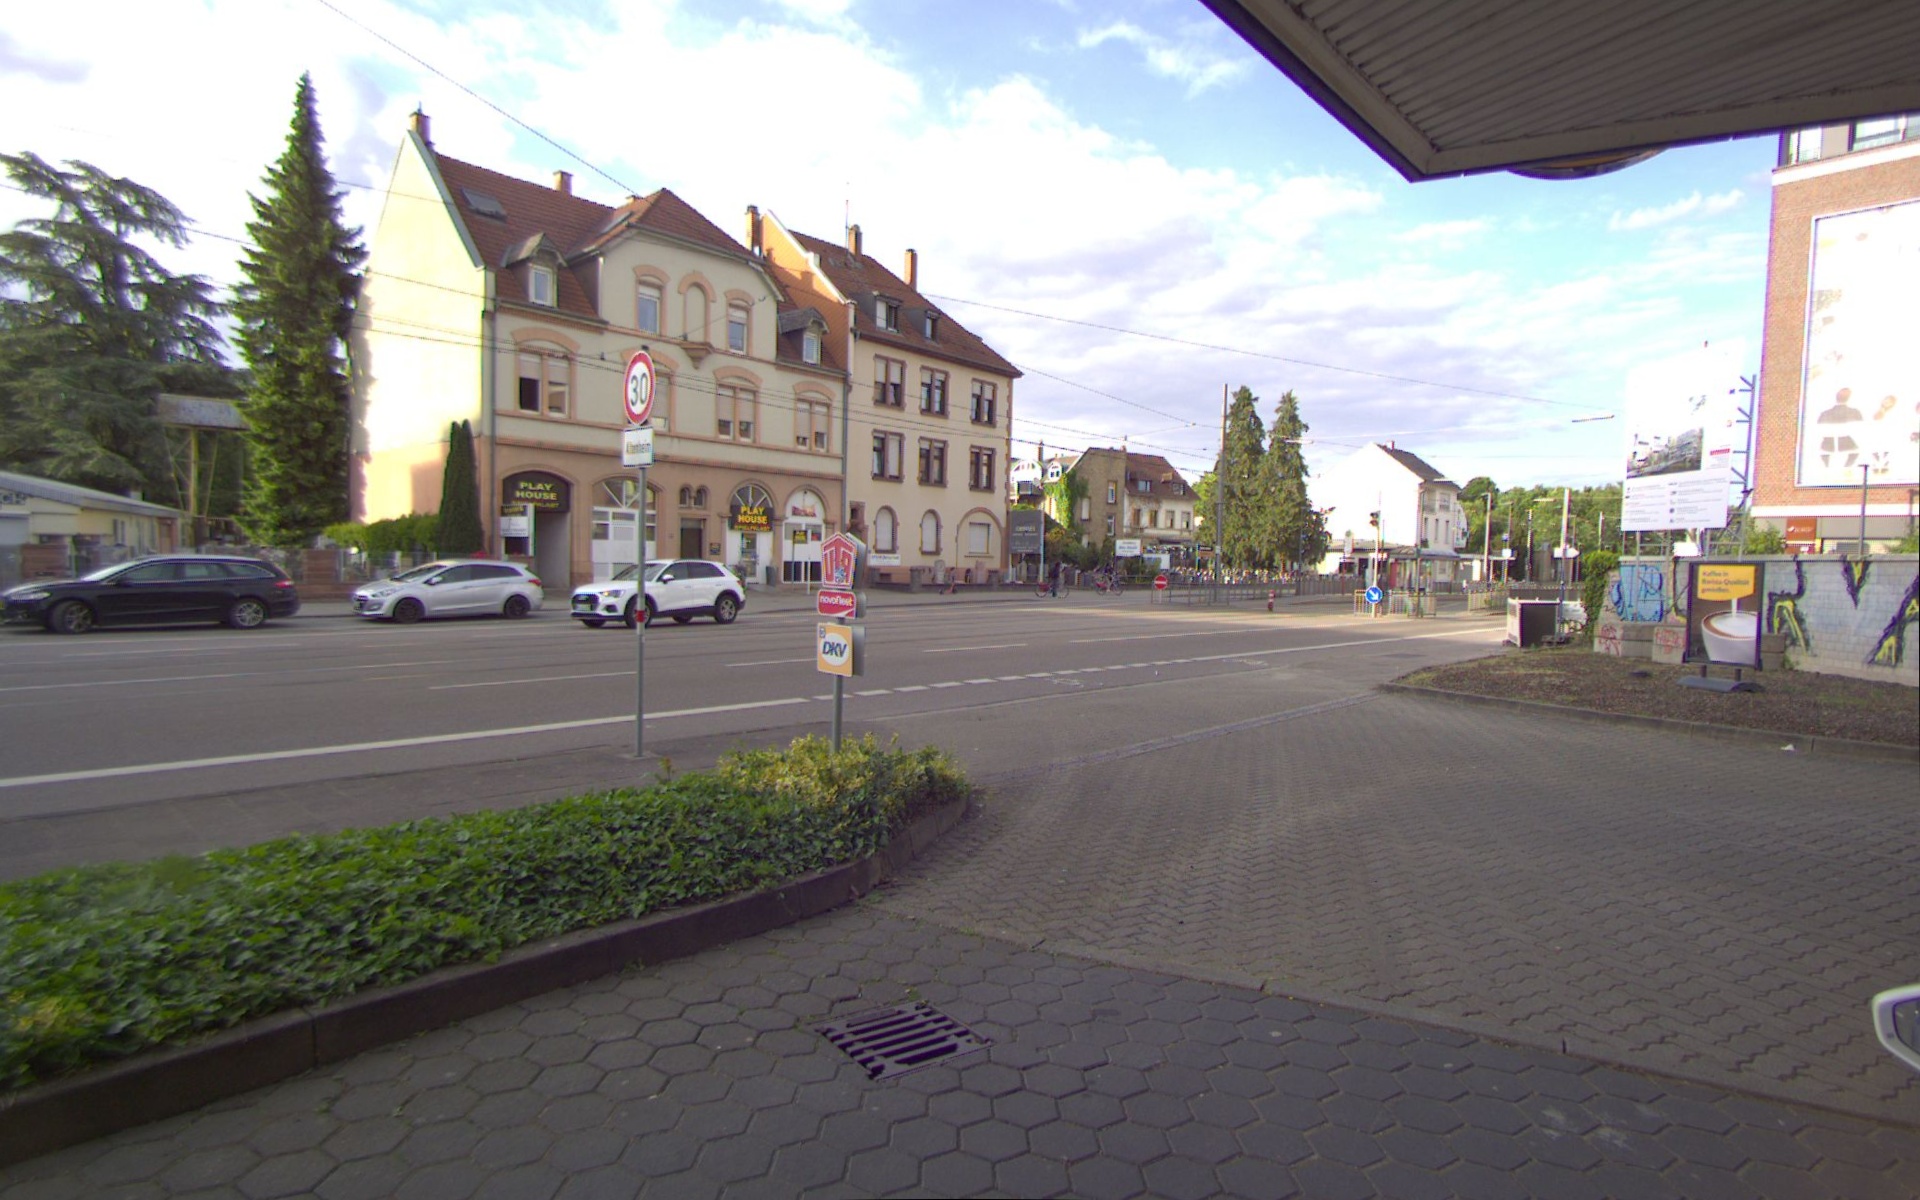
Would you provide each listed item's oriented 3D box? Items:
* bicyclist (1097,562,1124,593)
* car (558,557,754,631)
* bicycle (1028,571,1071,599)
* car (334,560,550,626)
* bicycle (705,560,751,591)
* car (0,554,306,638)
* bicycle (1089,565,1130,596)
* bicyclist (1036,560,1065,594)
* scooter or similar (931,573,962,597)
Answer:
[{"bbox_3d":[7.950,-1.186,53.056,1.079,1.512,0.785,2,4,-20],"label":"bicyclist"},{"bbox_3d":[-7.146,-0.200,24.032,1.809,1.598,4.369,1,2,32],"label":"car"},{"bbox_3d":[4.340,-0.718,48.582,1.884,1.219,0.839,1,6,-31],"label":"bicycle"},{"bbox_3d":[-13.009,-0.248,25.472,1.970,1.495,4.467,3,3,40],"label":"car"},{"bbox_3d":[-9.151,-0.959,39.716,0.508,1.189,1.809,4,2,40],"label":"bicycle"},{"bbox_3d":[-16.577,-0.150,20.739,1.970,1.516,4.801,3,3,40],"label":"car"},{"bbox_3d":[7.896,-1.052,53.046,1.962,1.512,0.785,2,4,-21],"label":"bicycle"},{"bbox_3d":[4.369,-1.109,48.537,0.953,1.579,0.839,1,6,-31],"label":"bicyclist"},{"bbox_3d":[-0.605,-0.694,45.143,0.488,1.015,1.592,5,5,39],"label":"scooter or similar"}]
